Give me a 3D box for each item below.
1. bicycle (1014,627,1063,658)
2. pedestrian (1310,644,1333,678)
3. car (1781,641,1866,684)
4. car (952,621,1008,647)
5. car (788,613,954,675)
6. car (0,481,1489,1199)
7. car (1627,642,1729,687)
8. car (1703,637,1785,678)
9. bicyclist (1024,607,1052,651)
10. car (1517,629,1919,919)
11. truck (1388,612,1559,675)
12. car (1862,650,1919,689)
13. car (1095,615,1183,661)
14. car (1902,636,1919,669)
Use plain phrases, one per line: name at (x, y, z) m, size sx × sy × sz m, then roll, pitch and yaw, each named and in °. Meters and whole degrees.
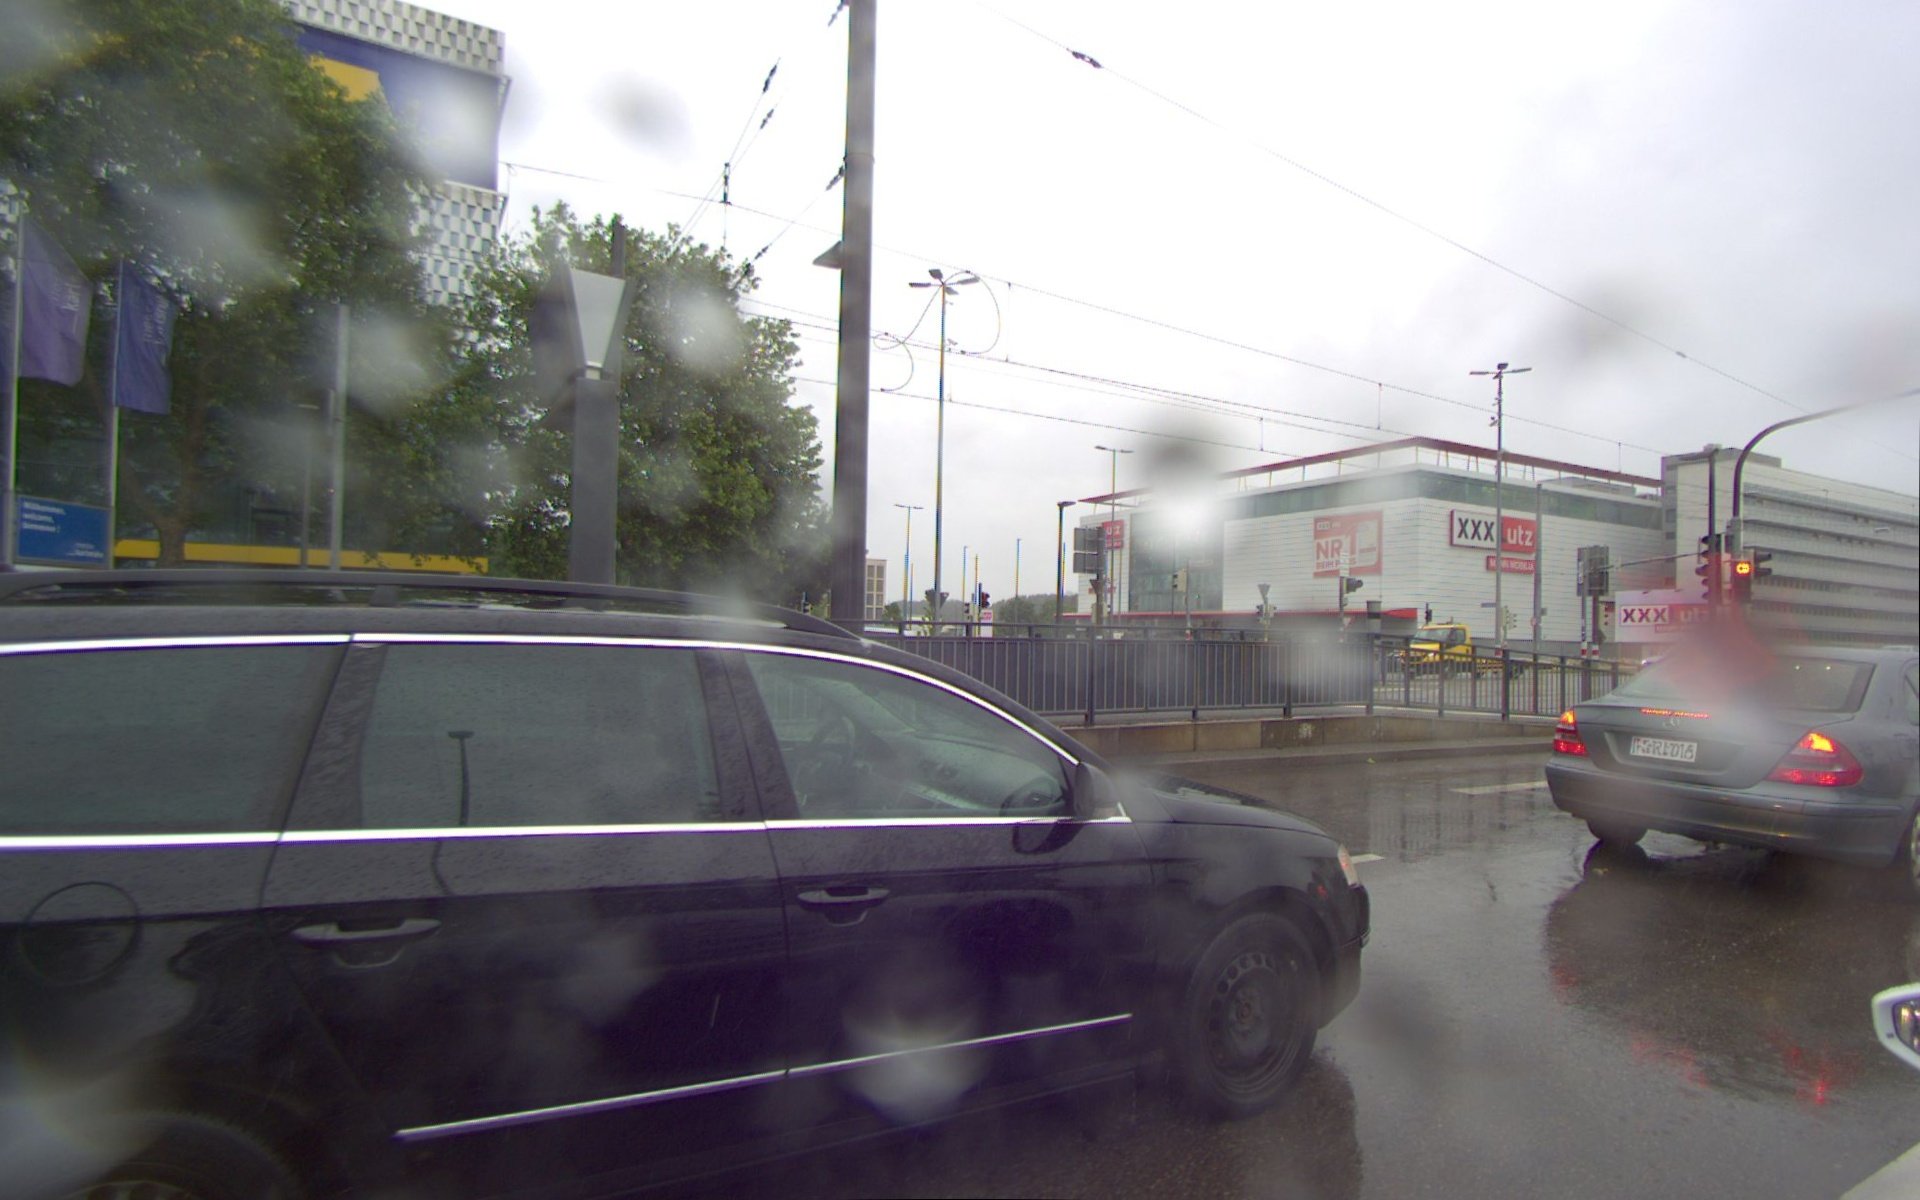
bicycle at (2.698, 1.460, 34.649) m, size 1.688 × 1.000 × 0.448 m, roll 3°, pitch -1°, yaw -29°
pedestrian at (16.810, 2.834, 46.691) m, size 0.862 × 1.557 × 0.560 m, roll 3°, pitch -1°, yaw -31°
car at (42.060, 3.049, 48.927) m, size 3.952 × 1.821 × 1.838 m, roll 5°, pitch -3°, yaw -28°
car at (1.424, 2.337, 69.342) m, size 3.723 × 1.645 × 2.001 m, roll 3°, pitch -1°, yaw 3°
car at (-2.186, 1.098, 24.994) m, size 3.788 × 1.353 × 1.579 m, roll 3°, pitch -1°, yaw -31°
car at (-0.644, 0.645, 2.914) m, size 4.545 × 1.521 × 1.762 m, roll 3°, pitch -1°, yaw -31°
car at (30.729, 2.765, 42.982) m, size 3.947 × 1.721 × 1.886 m, roll 3°, pitch -1°, yaw -26°
car at (39.427, 2.882, 50.521) m, size 3.488 × 1.682 × 1.726 m, roll 6°, pitch -1°, yaw -23°
bicyclist at (2.693, 0.994, 34.639) m, size 0.639 × 1.483 × 0.681 m, roll 3°, pitch -1°, yaw -28°
car at (6.113, 1.026, 7.067) m, size 4.592 × 1.417 × 1.753 m, roll 3°, pitch -1°, yaw -31°
truck at (21.347, 1.818, 41.631) m, size 7.536 × 2.309 × 2.343 m, roll 3°, pitch -1°, yaw -27°
car at (48.994, 3.616, 52.051) m, size 3.946 × 1.851 × 1.924 m, roll 3°, pitch -1°, yaw -25°
car at (8.789, 1.860, 49.674) m, size 1.976 × 2.040 × 4.296 m, roll 3°, pitch -1°, yaw -29°
car at (62.500, 3.448, 64.261) m, size 3.949 × 2.040 × 1.986 m, roll 3°, pitch -1°, yaw -27°
